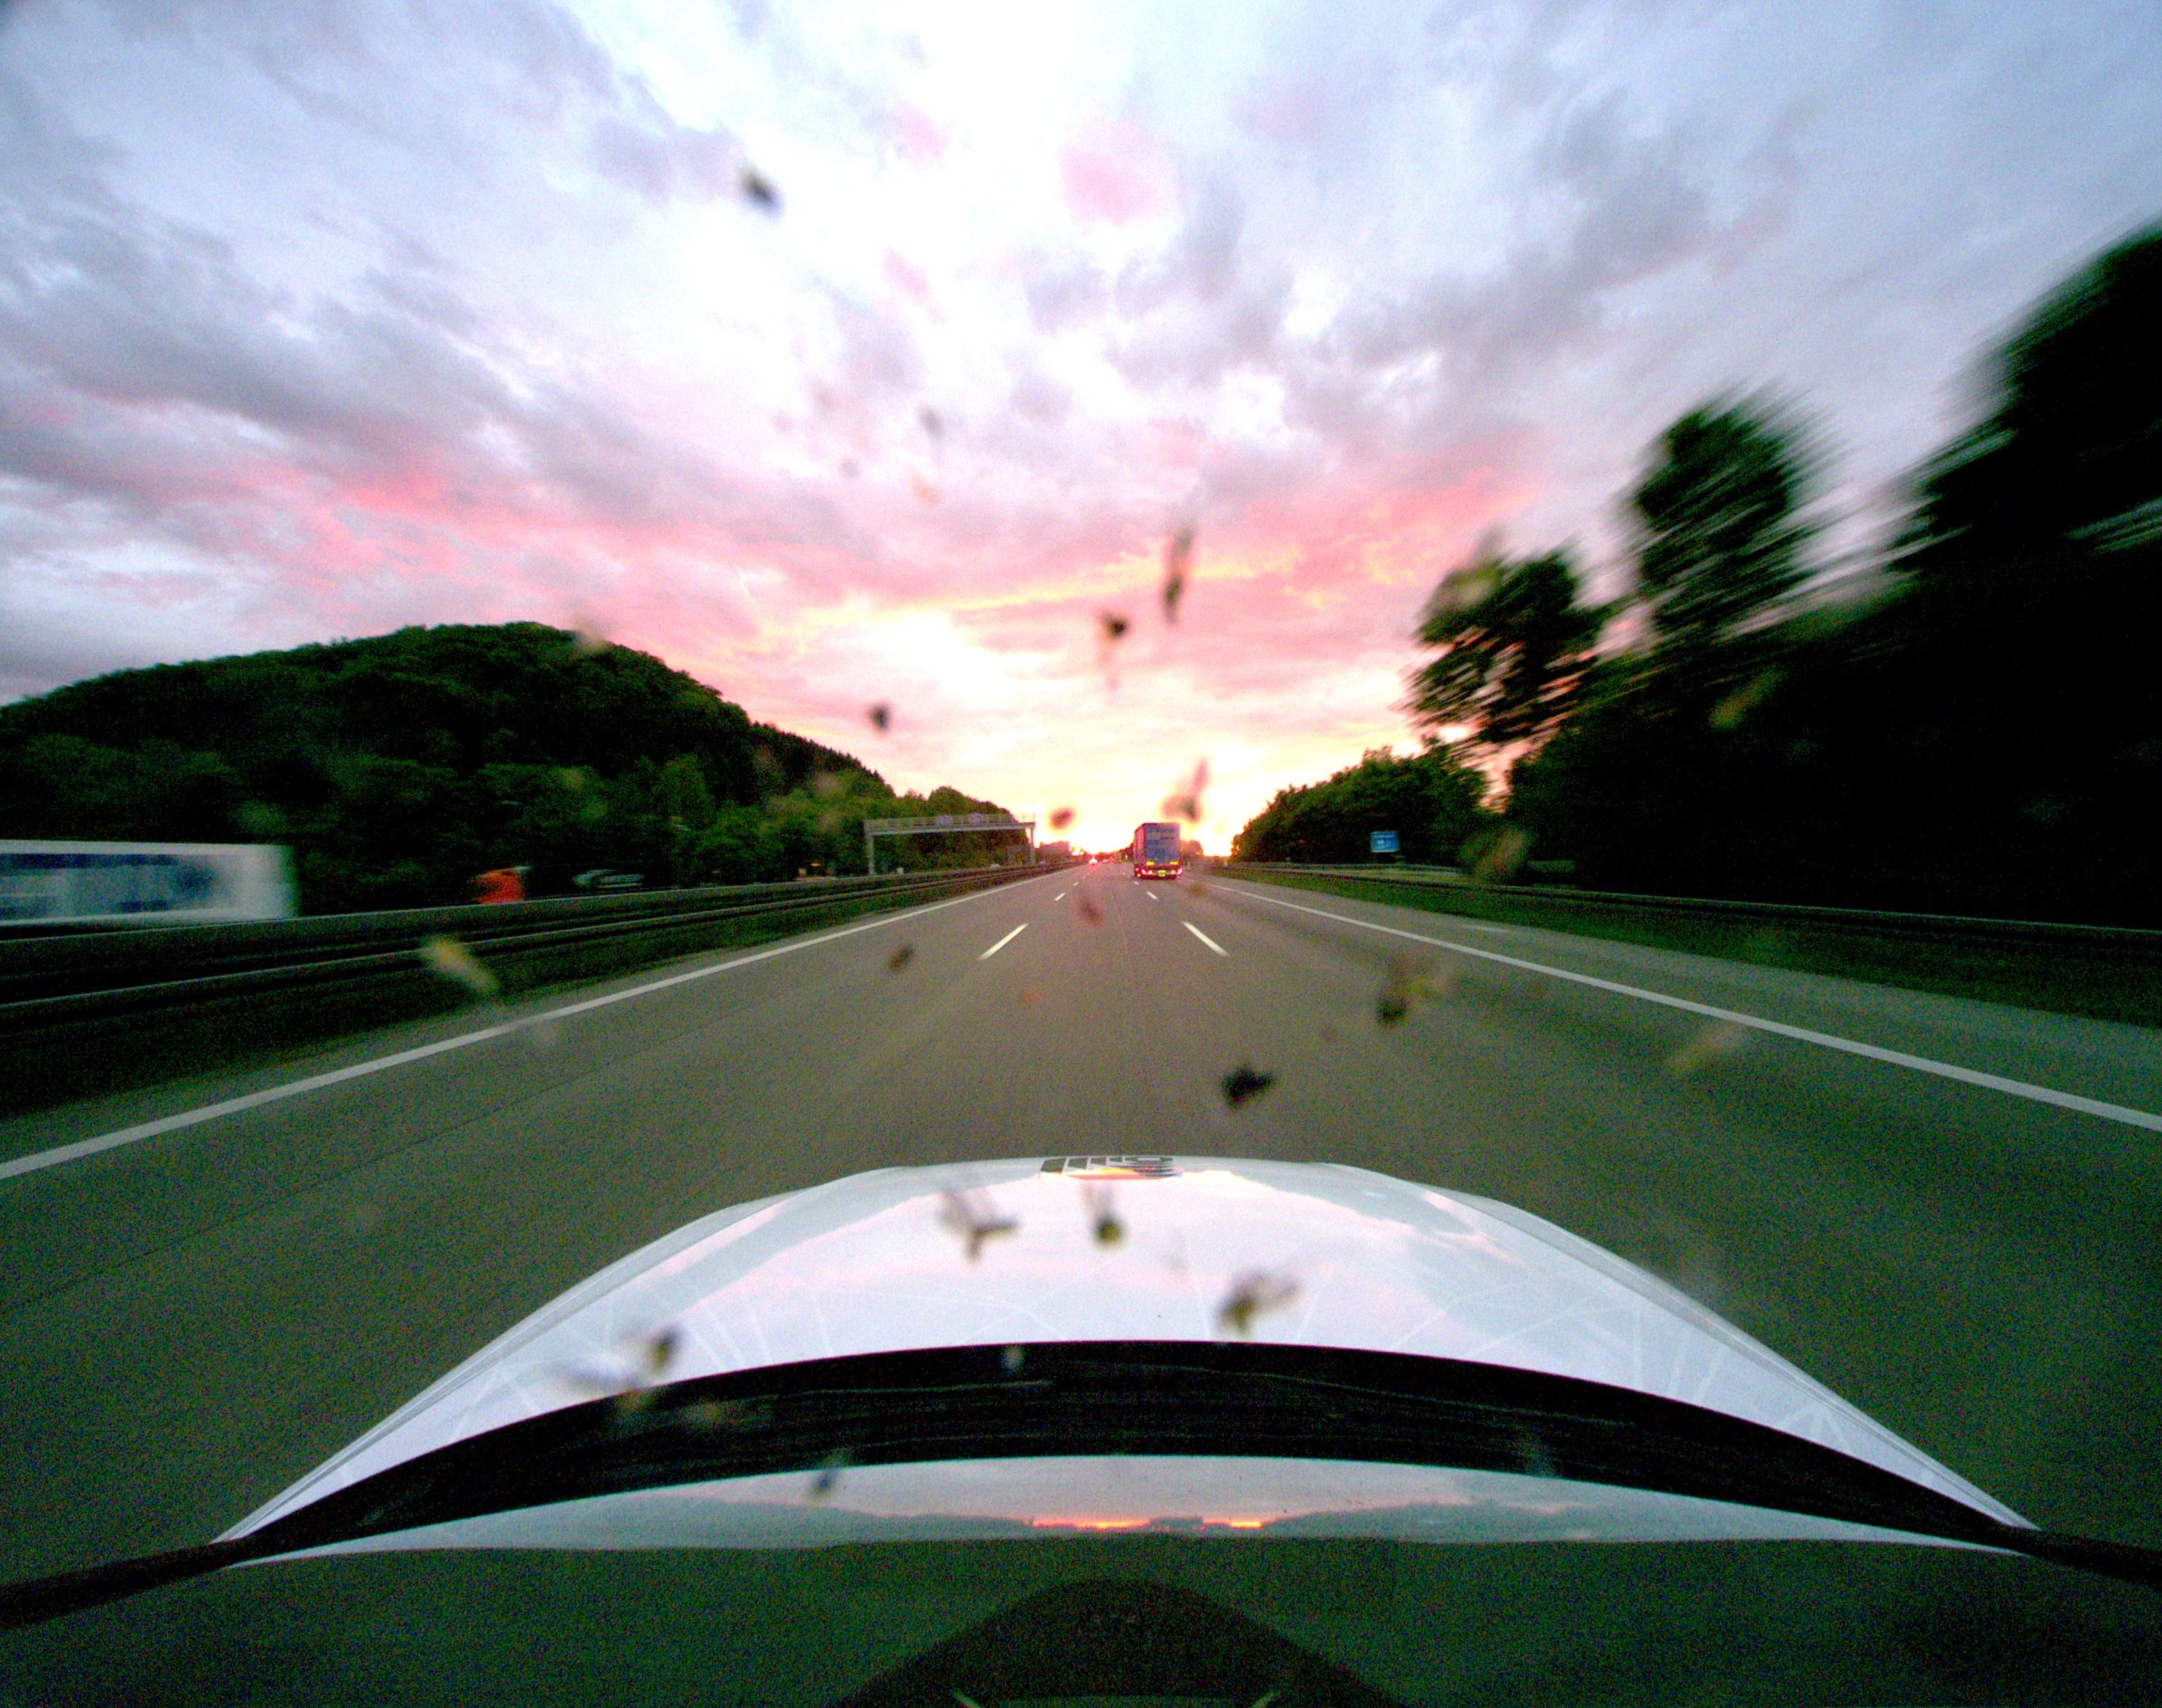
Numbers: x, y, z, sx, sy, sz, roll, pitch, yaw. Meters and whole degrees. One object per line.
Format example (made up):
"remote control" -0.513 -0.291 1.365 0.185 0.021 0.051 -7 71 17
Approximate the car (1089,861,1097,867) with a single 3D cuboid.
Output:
"car" 3.481 2.884 233.897 2.006 1.749 3.904 -5 -1 1

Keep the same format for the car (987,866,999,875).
"car" -15.965 2.981 148.352 1.635 1.421 3.537 -1 0 1

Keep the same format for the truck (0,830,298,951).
"truck" -32.317 1.079 25.411 2.866 3.425 13.777 -1 0 -2

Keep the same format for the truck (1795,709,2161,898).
"truck" 23.637 -1.072 18.883 2.834 3.916 11.968 -2 -1 -5

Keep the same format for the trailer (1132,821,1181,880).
"trailer" 5.741 -0.204 63.869 2.762 4.086 13.741 -1 -1 1

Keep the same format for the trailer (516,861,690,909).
"trailer" -42.257 2.599 72.870 3.032 3.679 13.427 -1 0 32

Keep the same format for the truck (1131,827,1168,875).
"truck" 5.888 -0.195 70.982 2.727 3.996 5.849 -1 -1 1

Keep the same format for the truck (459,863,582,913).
"truck" -45.929 2.690 67.021 2.975 3.679 7.727 -1 0 32
